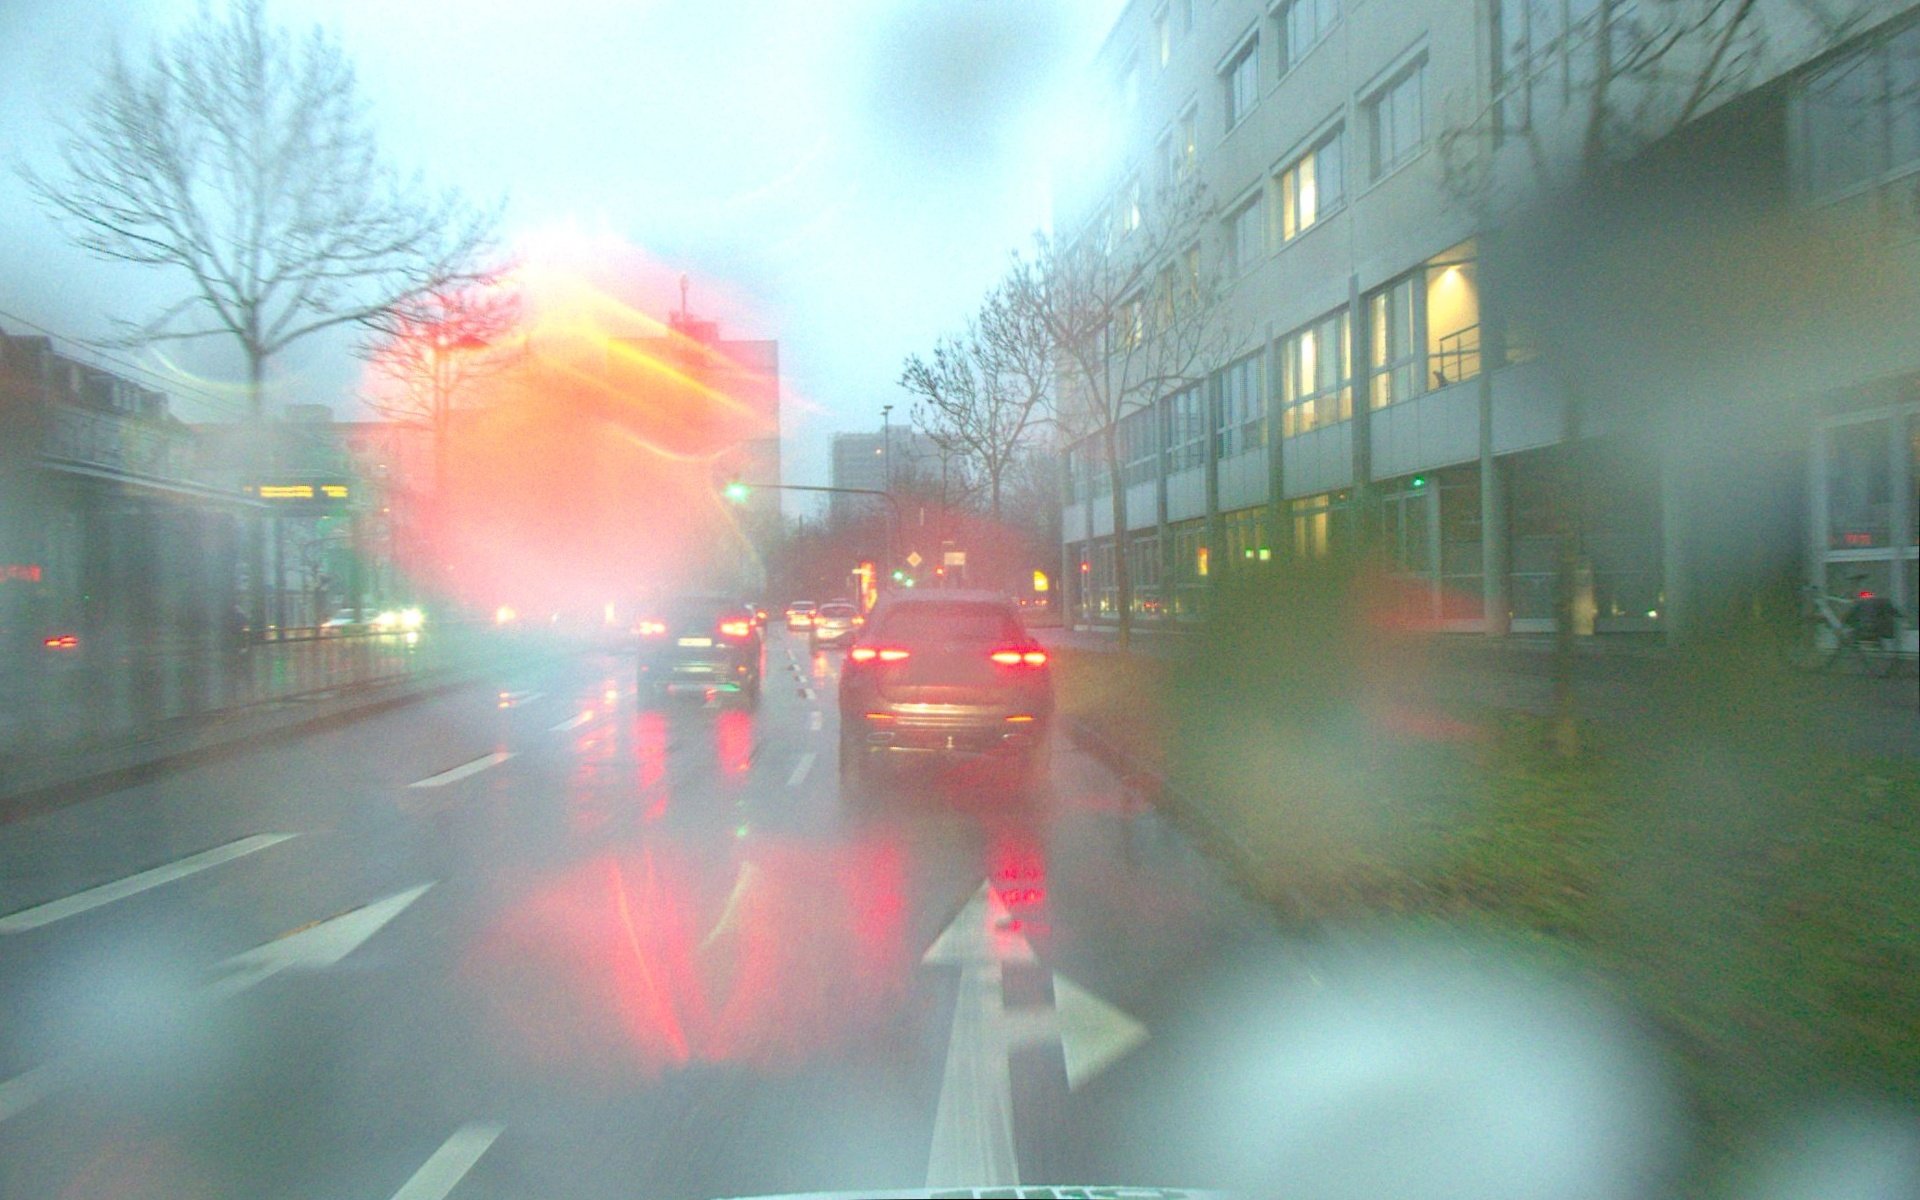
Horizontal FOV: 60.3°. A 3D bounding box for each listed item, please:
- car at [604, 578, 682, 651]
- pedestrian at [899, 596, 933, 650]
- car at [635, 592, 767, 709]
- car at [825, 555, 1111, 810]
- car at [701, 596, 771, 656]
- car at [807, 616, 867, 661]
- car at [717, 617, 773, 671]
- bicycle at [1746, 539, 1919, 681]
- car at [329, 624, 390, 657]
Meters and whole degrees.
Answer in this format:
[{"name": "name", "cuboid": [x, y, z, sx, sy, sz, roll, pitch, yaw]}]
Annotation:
[{"name": "car", "cuboid": [-9.485, 0.420, 49.857, 1.915, 2.069, 4.876, -1, 0, -6]}, {"name": "pedestrian", "cuboid": [-1.519, 0.800, 57.480, 0.779, 1.780, 0.862, -5, 0, 20]}, {"name": "car", "cuboid": [-4.169, 0.801, 26.979, 1.956, 1.742, 4.316, 0, -1, -8]}, {"name": "car", "cuboid": [-0.087, 0.691, 15.210, 1.957, 2.010, 4.058, 0, -1, -10]}, {"name": "car", "cuboid": [-6.524, 0.778, 48.450, 1.955, 1.671, 4.016, 0, -1, -7]}, {"name": "car", "cuboid": [-4.160, 1.263, 55.473, 1.851, 1.377, 4.095, 0, 0, -7]}, {"name": "car", "cuboid": [-8.486, 1.739, 65.542, 1.954, 2.049, 3.996, 0, -1, -4]}, {"name": "bicycle", "cuboid": [9.026, 0.078, 17.158, 0.805, 1.295, 2.460, -5, 0, 9]}, {"name": "car", "cuboid": [-28.545, 1.941, 78.728, 1.724, 1.523, 3.756, 0, -1, -4]}]
